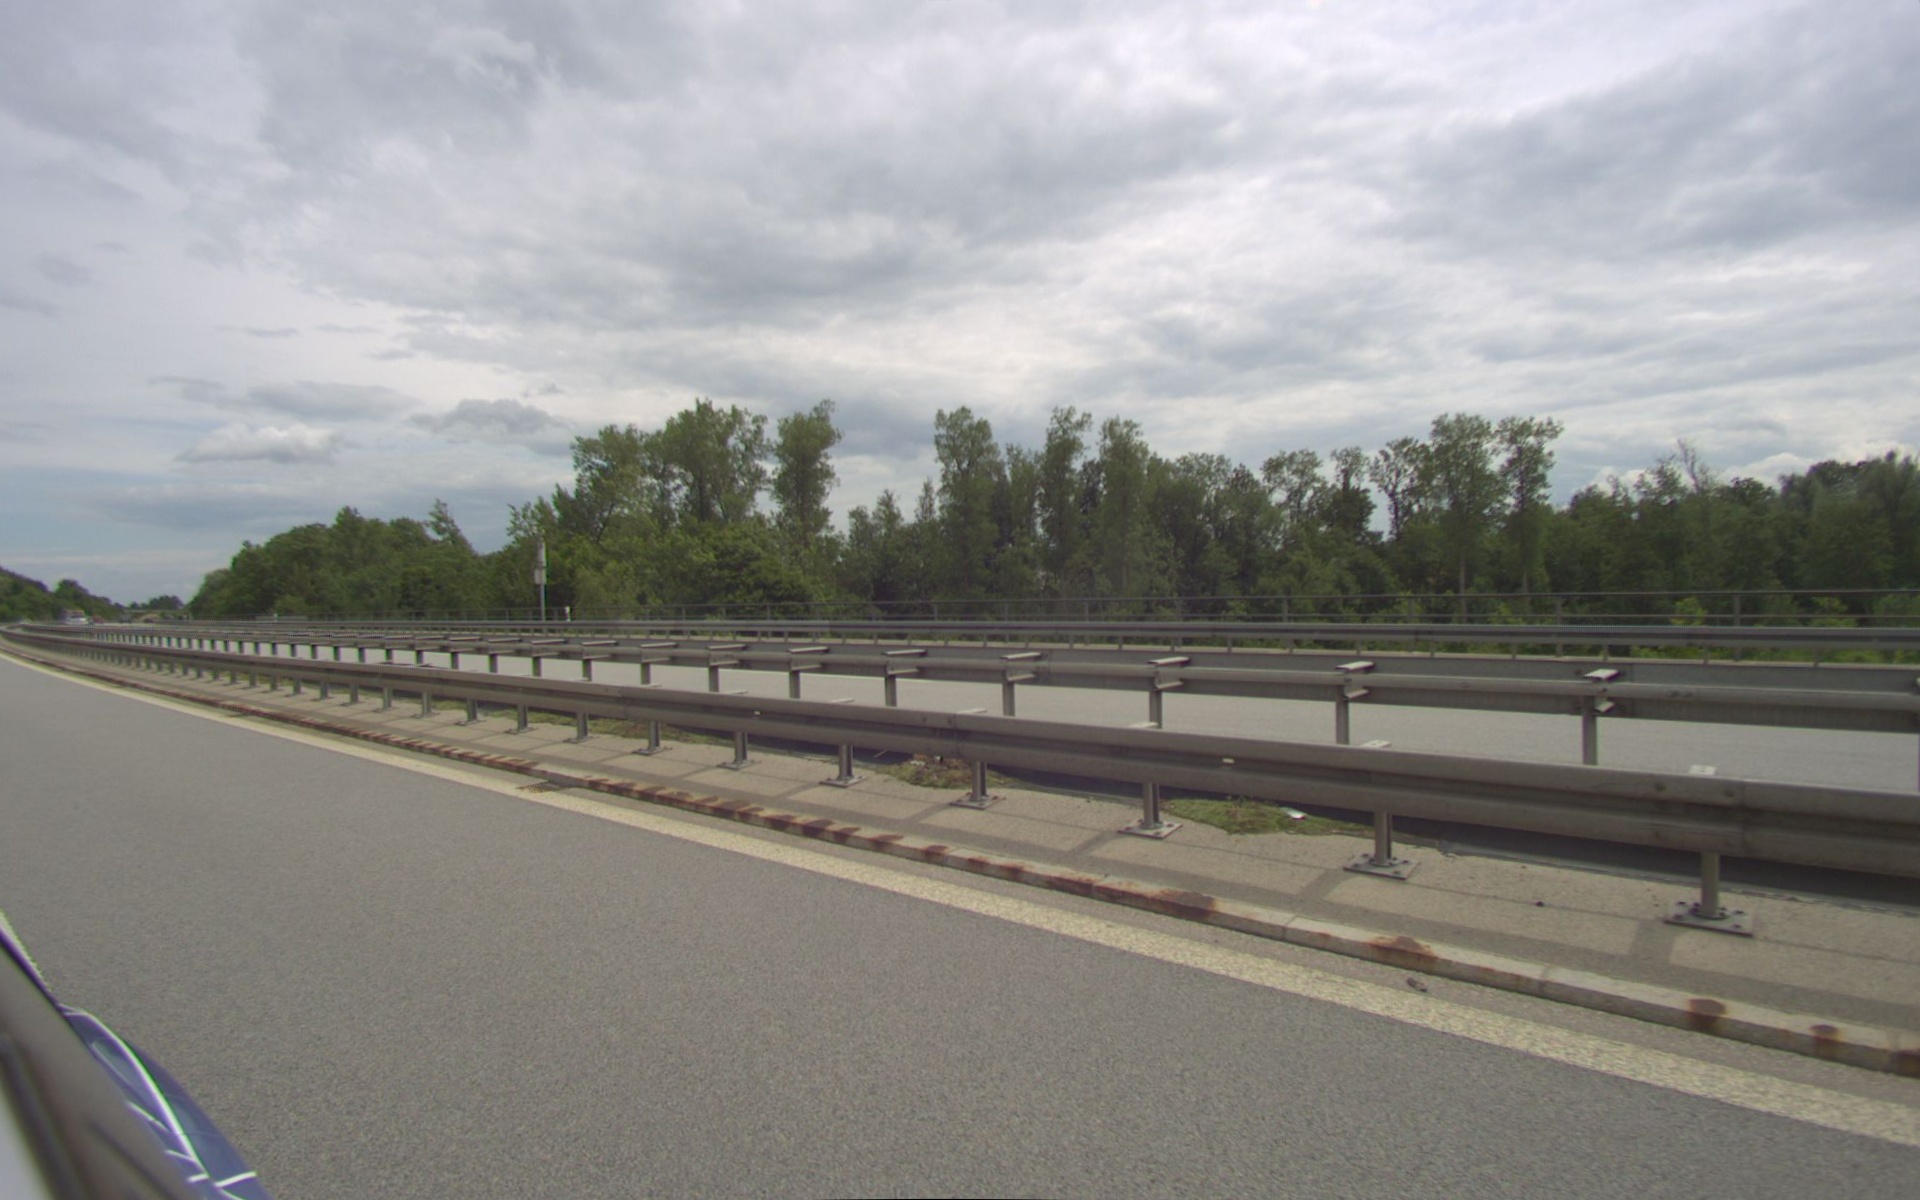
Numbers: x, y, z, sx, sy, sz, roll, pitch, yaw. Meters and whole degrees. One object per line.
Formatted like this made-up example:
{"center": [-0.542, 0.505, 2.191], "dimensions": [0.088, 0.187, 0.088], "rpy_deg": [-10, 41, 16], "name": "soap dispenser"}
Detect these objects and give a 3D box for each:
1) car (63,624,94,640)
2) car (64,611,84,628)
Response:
{"center": [-82.414, 2.969, 94.583], "dimensions": [4.388, 1.397, 1.752], "rpy_deg": [-1, 0, 44], "name": "car"}
{"center": [-130.393, 2.854, 148.982], "dimensions": [1.970, 2.310, 6.404], "rpy_deg": [-1, 0, -43], "name": "car"}
